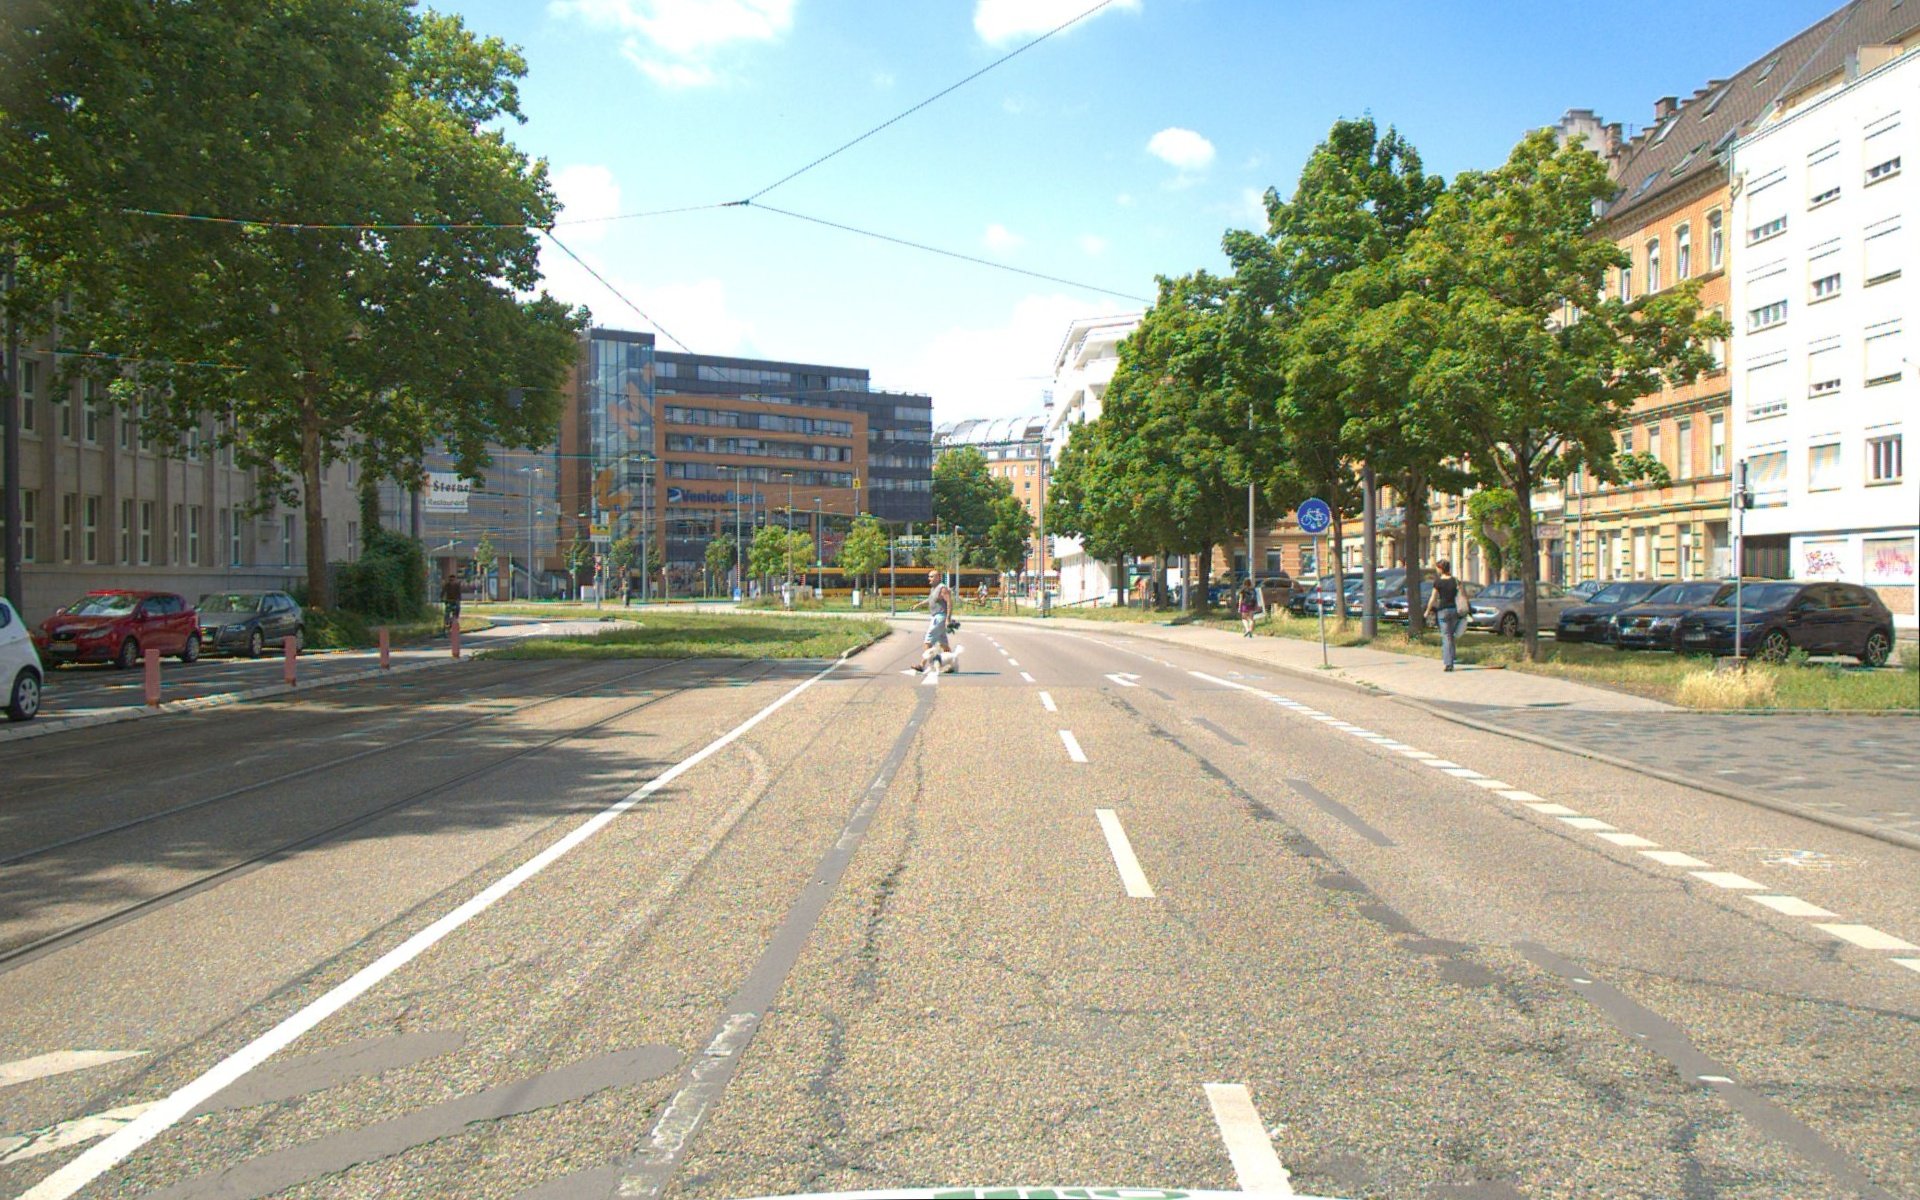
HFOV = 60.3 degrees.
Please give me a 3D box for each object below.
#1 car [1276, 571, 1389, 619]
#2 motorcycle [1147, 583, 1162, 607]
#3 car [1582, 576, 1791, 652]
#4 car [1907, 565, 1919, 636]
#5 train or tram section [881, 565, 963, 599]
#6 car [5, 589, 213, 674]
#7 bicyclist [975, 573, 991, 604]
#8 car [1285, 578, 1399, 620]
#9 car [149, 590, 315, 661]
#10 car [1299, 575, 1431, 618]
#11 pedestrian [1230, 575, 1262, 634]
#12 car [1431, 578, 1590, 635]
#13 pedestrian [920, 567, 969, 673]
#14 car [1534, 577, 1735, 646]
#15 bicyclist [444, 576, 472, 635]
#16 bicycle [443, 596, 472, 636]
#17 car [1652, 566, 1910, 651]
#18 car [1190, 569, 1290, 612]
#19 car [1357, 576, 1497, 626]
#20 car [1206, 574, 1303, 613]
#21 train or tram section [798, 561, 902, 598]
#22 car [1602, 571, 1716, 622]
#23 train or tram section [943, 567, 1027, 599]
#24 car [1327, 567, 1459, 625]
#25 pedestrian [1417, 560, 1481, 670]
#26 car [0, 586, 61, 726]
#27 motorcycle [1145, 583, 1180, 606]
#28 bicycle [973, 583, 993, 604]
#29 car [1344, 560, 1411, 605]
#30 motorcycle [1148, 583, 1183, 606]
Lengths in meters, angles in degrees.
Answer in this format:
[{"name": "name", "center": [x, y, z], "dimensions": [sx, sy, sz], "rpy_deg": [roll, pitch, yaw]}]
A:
[{"name": "car", "center": [14.194, -0.179, 62.999], "dimensions": [4.095, 1.771, 1.833], "rpy_deg": [1, 0, -32]}, {"name": "motorcycle", "center": [9.838, -0.267, 83.671], "dimensions": [0.624, 1.187, 1.908], "rpy_deg": [0, 0, 11]}, {"name": "car", "center": [14.224, 0.274, 32.336], "dimensions": [3.951, 1.404, 1.939], "rpy_deg": [1, 0, -34]}, {"name": "car", "center": [22.917, 0.032, 36.200], "dimensions": [1.794, 1.644, 4.495], "rpy_deg": [1, 0, 0]}, {"name": "train or tram section", "center": [-4.238, -2.073, 188.817], "dimensions": [3.008, 3.666, 10.937], "rpy_deg": [1, 0, 39]}, {"name": "car", "center": [-16.230, 0.560, 31.801], "dimensions": [1.887, 1.445, 4.050], "rpy_deg": [2, 1, 0]}, {"name": "bicyclist", "center": [1.413, -0.731, 102.971], "dimensions": [0.679, 1.856, 0.957], "rpy_deg": [-2, 1, 17]}, {"name": "car", "center": [13.841, -0.034, 59.851], "dimensions": [4.039, 1.430, 1.829], "rpy_deg": [1, 0, -36]}, {"name": "car", "center": [-16.113, 0.525, 36.864], "dimensions": [1.887, 1.393, 4.316], "rpy_deg": [2, 1, -2]}, {"name": "car", "center": [13.889, -0.114, 56.635], "dimensions": [4.639, 1.404, 1.830], "rpy_deg": [1, 0, -35]}, {"name": "pedestrian", "center": [7.922, 0.130, 45.892], "dimensions": [0.686, 1.620, 0.905], "rpy_deg": [1, 0, -1]}, {"name": "car", "center": [14.191, 0.171, 42.563], "dimensions": [4.223, 1.404, 1.828], "rpy_deg": [1, 0, -37]}, {"name": "pedestrian", "center": [-0.253, 0.327, 27.707], "dimensions": [0.765, 1.734, 0.702], "rpy_deg": [1, 0, 1]}, {"name": "car", "center": [14.403, 0.246, 35.315], "dimensions": [3.942, 1.404, 1.943], "rpy_deg": [1, 0, -29]}, {"name": "bicyclist", "center": [-14.897, 0.159, 49.068], "dimensions": [0.749, 1.734, 0.779], "rpy_deg": [1, 0, -18]}, {"name": "bicycle", "center": [-14.887, 0.462, 48.992], "dimensions": [0.778, 1.129, 2.266], "rpy_deg": [1, 0, -16]}, {"name": "car", "center": [14.206, 0.160, 28.648], "dimensions": [3.933, 1.378, 1.948], "rpy_deg": [1, 0, -23]}, {"name": "car", "center": [13.317, -0.450, 78.591], "dimensions": [4.569, 1.961, 1.896], "rpy_deg": [1, 0, -32]}, {"name": "car", "center": [13.811, 0.036, 48.838], "dimensions": [4.223, 1.404, 1.828], "rpy_deg": [1, 0, -37]}, {"name": "car", "center": [13.471, -0.305, 75.603], "dimensions": [4.112, 1.685, 1.900], "rpy_deg": [1, 0, -28]}, {"name": "train or tram section", "center": [-11.807, -2.176, 179.219], "dimensions": [3.164, 3.662, 13.440], "rpy_deg": [1, 0, 37]}, {"name": "car", "center": [22.092, -0.121, 52.448], "dimensions": [1.794, 1.518, 4.227], "rpy_deg": [1, 0, 0]}, {"name": "train or tram section", "center": [3.050, -1.993, 198.020], "dimensions": [3.007, 3.684, 12.576], "rpy_deg": [1, 0, 38]}, {"name": "car", "center": [13.867, -0.114, 52.845], "dimensions": [4.319, 1.771, 1.828], "rpy_deg": [1, 0, -37]}, {"name": "pedestrian", "center": [7.905, 0.230, 26.751], "dimensions": [0.686, 1.734, 1.044], "rpy_deg": [1, 0, -1]}, {"name": "car", "center": [-11.279, 0.664, 17.256], "dimensions": [1.724, 1.505, 3.787], "rpy_deg": [-2, 1, -1]}, {"name": "motorcycle", "center": [10.655, -0.298, 87.187], "dimensions": [1.747, 1.187, 0.639], "rpy_deg": [0, 0, -2]}, {"name": "bicycle", "center": [1.425, -0.407, 102.951], "dimensions": [0.679, 1.264, 1.840], "rpy_deg": [-2, 2, 18]}, {"name": "car", "center": [21.523, -0.859, 85.466], "dimensions": [2.067, 2.216, 5.393], "rpy_deg": [1, 0, 0]}, {"name": "motorcycle", "center": [10.681, -0.286, 85.990], "dimensions": [1.747, 1.187, 0.639], "rpy_deg": [0, 0, -2]}]
